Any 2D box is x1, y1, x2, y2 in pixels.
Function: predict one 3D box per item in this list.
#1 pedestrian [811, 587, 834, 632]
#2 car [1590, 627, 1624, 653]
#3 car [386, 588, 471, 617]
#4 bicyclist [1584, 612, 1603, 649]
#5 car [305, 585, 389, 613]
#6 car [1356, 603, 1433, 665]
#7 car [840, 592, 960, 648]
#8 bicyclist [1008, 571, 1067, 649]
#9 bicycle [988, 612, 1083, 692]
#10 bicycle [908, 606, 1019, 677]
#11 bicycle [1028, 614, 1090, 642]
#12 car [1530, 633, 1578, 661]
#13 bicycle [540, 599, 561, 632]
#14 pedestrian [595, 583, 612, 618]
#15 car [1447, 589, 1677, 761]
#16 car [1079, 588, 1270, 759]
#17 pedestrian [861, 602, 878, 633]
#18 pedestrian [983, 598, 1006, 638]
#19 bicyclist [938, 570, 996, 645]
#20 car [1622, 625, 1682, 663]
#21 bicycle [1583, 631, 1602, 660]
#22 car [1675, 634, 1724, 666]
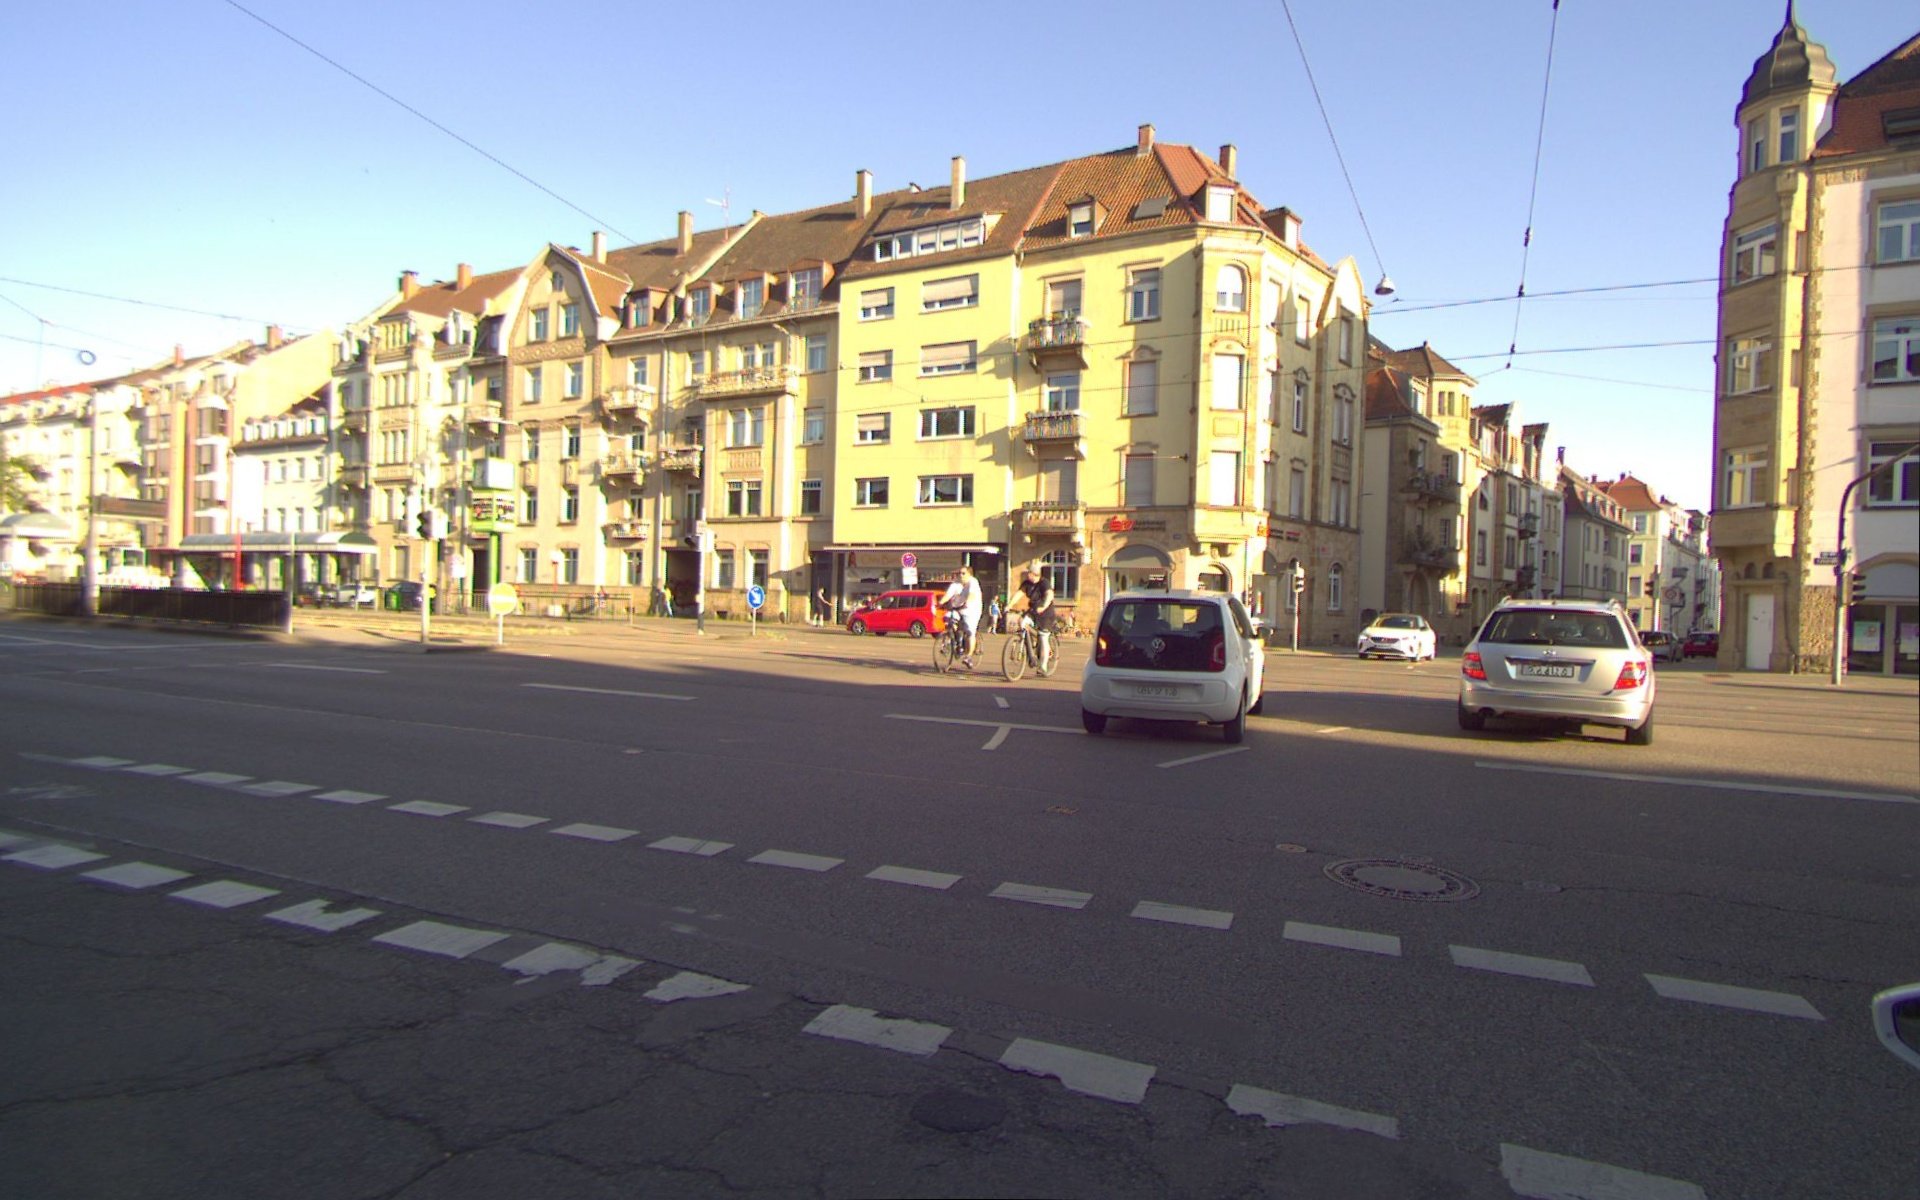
[{"bbox_3d":[-6.288,0.436,45.811,0.658,2.040,0.766,2,0,38],"label":"pedestrian"},{"bbox_3d":[47.862,2.927,74.274,1.807,1.769,3.985,3,0,37],"label":"car"},{"bbox_3d":[-29.422,0.162,55.707,1.912,1.483,3.703,2,0,25],"label":"car"},{"bbox_3d":[26.611,1.281,42.207,0.601,1.513,0.765,3,0,33],"label":"bicyclist"},{"bbox_3d":[-35.497,-0.027,58.256,1.912,1.483,3.703,2,0,25],"label":"car"},{"bbox_3d":[13.560,1.027,31.229,1.802,1.728,3.994,3,0,29],"label":"car"},{"bbox_3d":[-2.330,0.738,38.905,4.231,1.925,1.918,3,0,28],"label":"car"},{"bbox_3d":[1.225,0.152,15.830,0.601,1.173,0.765,3,0,33],"label":"bicyclist"},{"bbox_3d":[1.222,0.780,15.882,0.641,1.120,1.919,3,2,32],"label":"bicycle"},{"bbox_3d":[0.115,0.698,17.495,0.641,1.120,2.546,3,0,32],"label":"bicycle"},{"bbox_3d":[4.058,1.135,41.313,2.456,1.070,0.666,1,0,27],"label":"bicycle"},{"bbox_3d":[37.526,2.947,63.433,1.809,1.637,3.979,3,0,42],"label":"car"},{"bbox_3d":[-22.012,0.822,54.000,0.874,1.760,0.559,3,1,33],"label":"bicycle"},{"bbox_3d":[-19.230,0.054,54.221,0.468,1.862,0.639,3,1,32],"label":"pedestrian"},{"bbox_3d":[6.840,0.666,11.201,1.710,1.497,4.155,3,2,37],"label":"car"},{"bbox_3d":[2.561,0.688,11.277,1.703,1.499,3.815,2,0,17],"label":"car"},{"bbox_3d":[-4.075,0.783,45.152,0.545,1.381,0.553,2,0,29],"label":"pedestrian"},{"bbox_3d":[1.445,0.748,42.013,0.756,1.662,0.629,1,0,28],"label":"pedestrian"},{"bbox_3d":[0.123,0.127,17.484,0.649,1.252,0.765,3,0,33],"label":"bicyclist"},{"bbox_3d":[32.307,2.021,46.839,1.809,1.637,3.980,3,0,41],"label":"car"},{"bbox_3d":[26.675,1.902,42.344,0.611,1.120,2.546,3,0,32],"label":"bicycle"},{"bbox_3d":[43.331,2.898,58.812,1.810,1.728,3.977,3,0,43],"label":"car"}]
